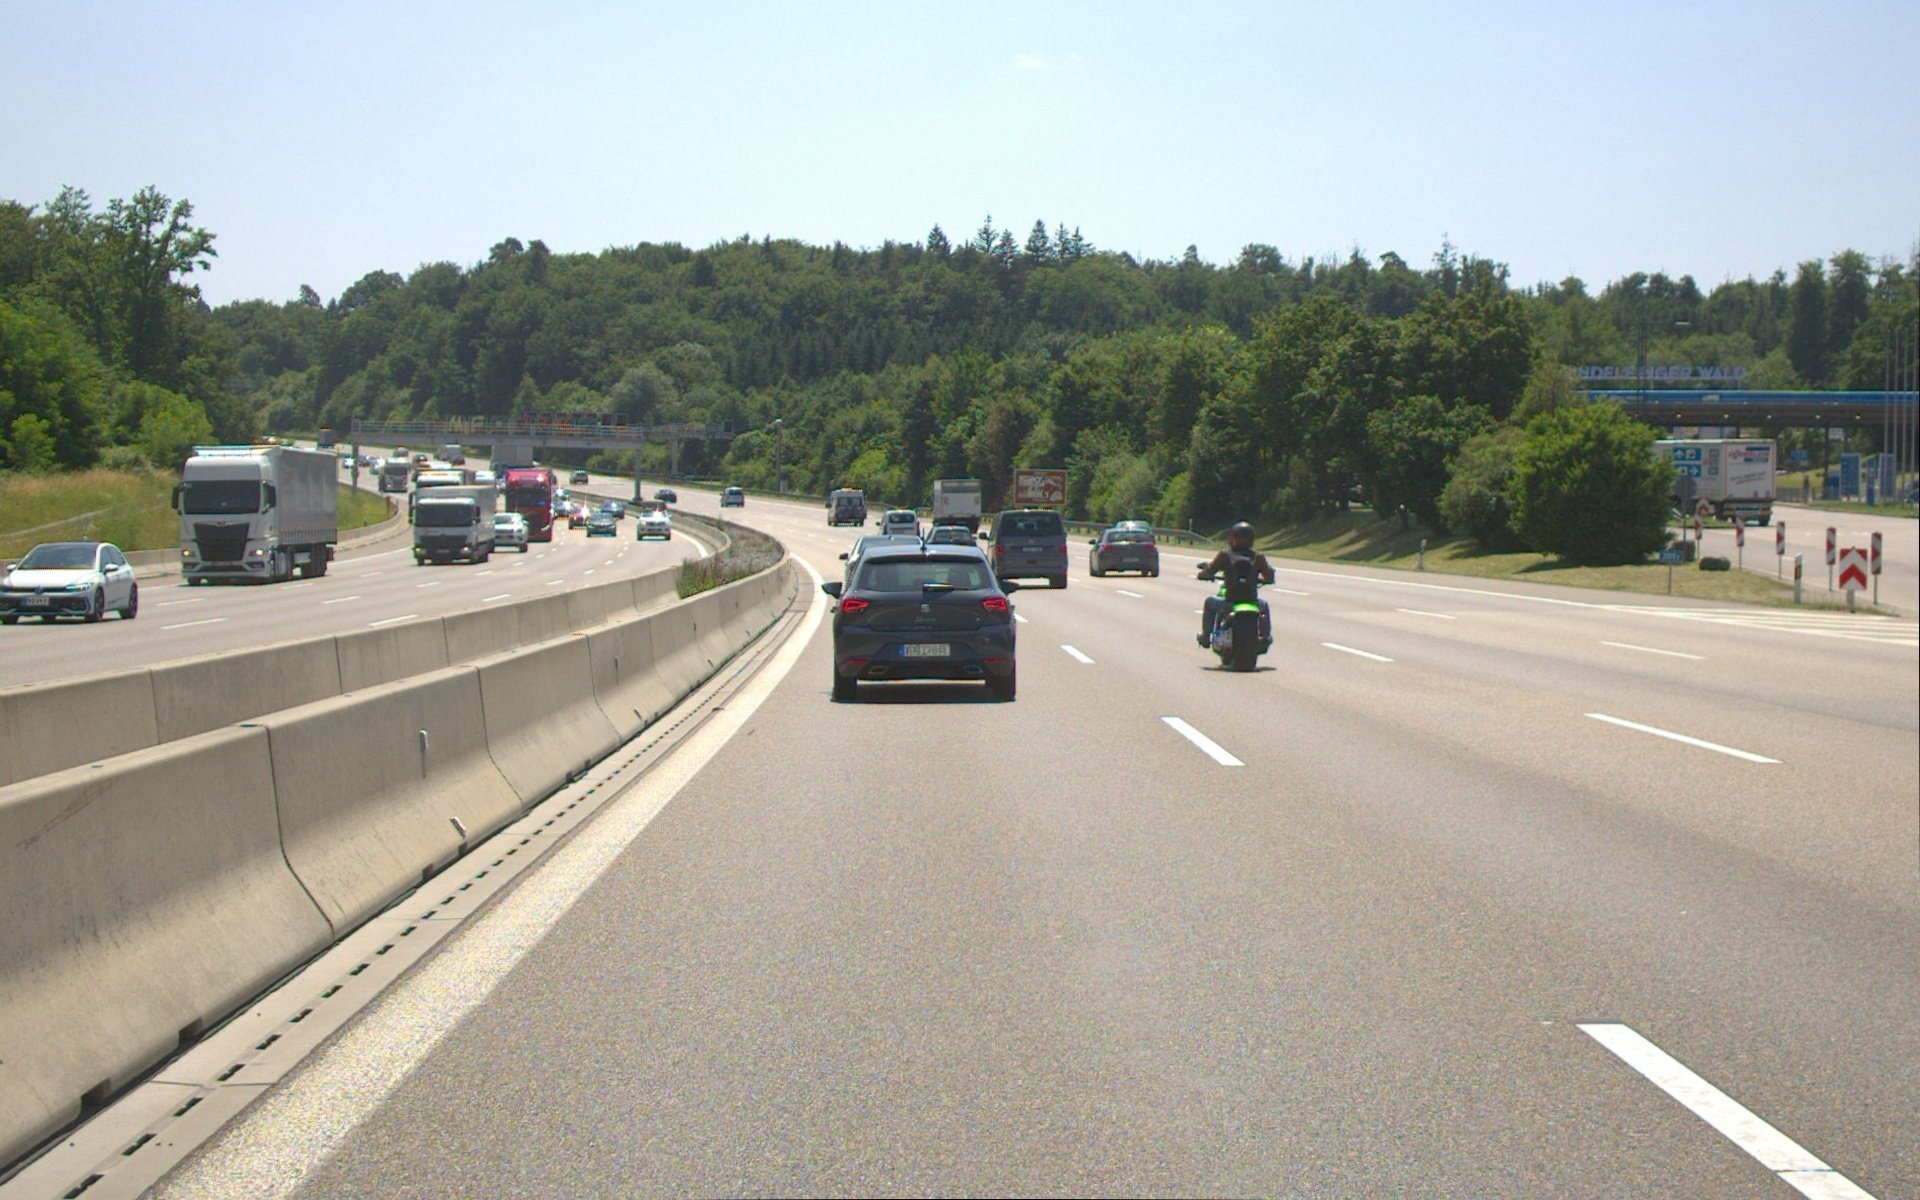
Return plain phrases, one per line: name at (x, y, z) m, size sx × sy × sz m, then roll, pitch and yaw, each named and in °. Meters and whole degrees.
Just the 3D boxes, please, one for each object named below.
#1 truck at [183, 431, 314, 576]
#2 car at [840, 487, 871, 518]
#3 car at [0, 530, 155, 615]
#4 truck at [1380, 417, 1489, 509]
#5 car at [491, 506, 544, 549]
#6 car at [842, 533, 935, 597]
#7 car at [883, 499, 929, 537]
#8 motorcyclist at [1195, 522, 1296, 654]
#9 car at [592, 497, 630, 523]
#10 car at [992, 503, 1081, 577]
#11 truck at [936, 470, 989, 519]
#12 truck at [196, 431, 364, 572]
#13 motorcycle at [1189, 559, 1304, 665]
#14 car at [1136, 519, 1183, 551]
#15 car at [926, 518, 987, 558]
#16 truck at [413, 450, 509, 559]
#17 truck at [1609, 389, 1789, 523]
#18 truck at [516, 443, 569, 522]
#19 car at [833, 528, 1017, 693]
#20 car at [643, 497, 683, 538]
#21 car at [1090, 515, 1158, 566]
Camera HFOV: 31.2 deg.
truck at (-21.051, -2.841, 101.991) m, size 2.682 × 4.163 × 6.232 m, roll 0°, pitch 1°, yaw -1°
car at (-7.243, -6.768, 237.989) m, size 1.993 × 2.006 × 4.675 m, roll 2°, pitch 2°, yaw -3°
car at (-16.352, -0.523, 63.456) m, size 1.872 × 1.475 × 4.813 m, roll 1°, pitch 1°, yaw -1°
truck at (25.792, -7.398, 187.802) m, size 3.326 × 4.812 × 14.701 m, roll 0°, pitch 2°, yaw -2°
car at (-20.836, -3.445, 162.020) m, size 1.993 × 1.963 × 5.738 m, roll 0°, pitch 2°, yaw -2°
car at (-1.479, -0.739, 70.071) m, size 1.782 × 1.261 × 3.460 m, roll 0°, pitch 1°, yaw -3°
car at (-2.611, -3.983, 165.538) m, size 1.993 × 1.678 × 4.424 m, roll 2°, pitch 2°, yaw -3°
motorcyclist at (3.176, -0.144, 38.296) m, size 0.962 × 1.432 × 1.235 m, roll 0°, pitch 2°, yaw -3°
car at (-21.207, -5.464, 209.138) m, size 1.993 × 1.542 × 4.882 m, roll 0°, pitch 2°, yaw -2°
car at (1.905, -1.524, 86.968) m, size 2.097 × 1.845 × 4.081 m, roll 0°, pitch 1°, yaw -1°
truck at (0.139, -6.340, 205.887) m, size 2.726 × 2.776 × 5.684 m, roll 2°, pitch 2°, yaw -3°
truck at (-21.355, -3.088, 108.825) m, size 2.757 × 4.163 × 14.511 m, roll 0°, pitch 1°, yaw -1°
motorcycle at (3.179, 0.116, 38.402) m, size 0.977 × 1.125 × 2.271 m, roll 0°, pitch 1°, yaw -3°
car at (7.704, -2.516, 132.840) m, size 1.608 × 1.208 × 3.460 m, roll 0°, pitch 1°, yaw 0°
car at (-0.139, -2.138, 118.485) m, size 1.842 × 1.218 × 4.225 m, roll 2°, pitch 2°, yaw -3°
truck at (-19.632, -3.751, 135.677) m, size 2.531 × 4.163 × 9.620 m, roll 0°, pitch 1°, yaw -1°
truck at (36.372, -6.967, 170.145) m, size 5.508 × 6.244 × 15.432 m, roll 0°, pitch 1°, yaw 0°
truck at (-23.420, -6.602, 193.021) m, size 2.500 × 4.336 × 6.607 m, roll 0°, pitch 2°, yaw -3°
car at (-0.286, 0.087, 32.704) m, size 1.624 × 1.482 × 3.685 m, roll 0°, pitch 0°, yaw 1°
car at (-16.822, -4.717, 195.187) m, size 1.993 × 2.281 × 5.766 m, roll 0°, pitch 2°, yaw -2°
car at (4.786, -1.746, 100.731) m, size 1.675 × 1.427 × 3.685 m, roll 2°, pitch 1°, yaw -1°
